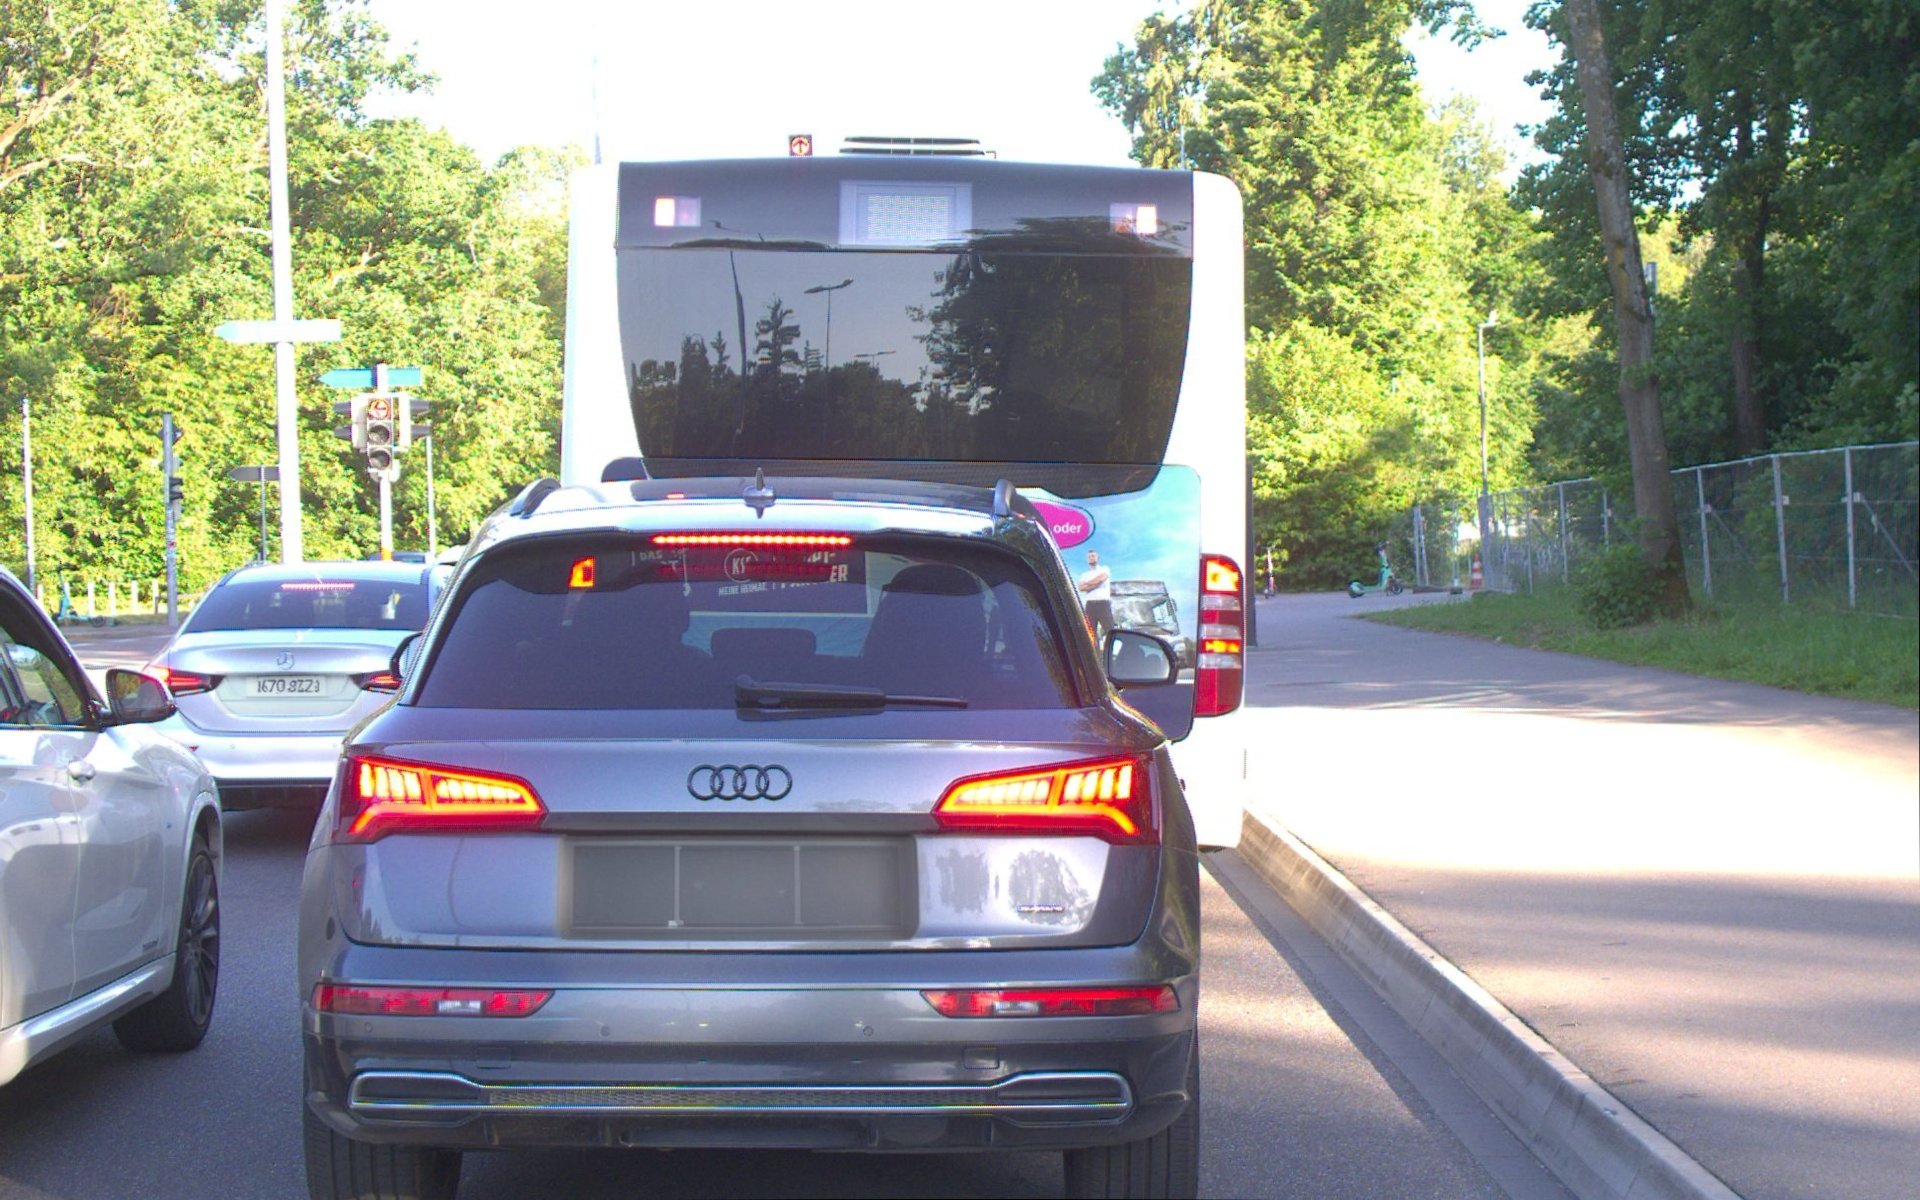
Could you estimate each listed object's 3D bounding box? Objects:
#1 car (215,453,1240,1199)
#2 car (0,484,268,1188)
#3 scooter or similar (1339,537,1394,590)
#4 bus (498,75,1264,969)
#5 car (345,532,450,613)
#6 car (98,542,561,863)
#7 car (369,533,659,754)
[{"bbox_3d":[-0.453,0.516,8.329,1.868,1.658,4.000,1,2,-1],"label":"car"},{"bbox_3d":[-3.010,0.497,8.574,1.718,1.575,4.434,1,1,-1],"label":"car"},{"bbox_3d":[9.210,-0.820,77.837,1.184,1.170,0.659,1,1,11],"label":"scooter or similar"},{"bbox_3d":[-0.252,-0.354,15.132,2.678,3.131,5.882,1,2,1],"label":"bus"},{"bbox_3d":[-12.211,-0.609,74.836,1.993,1.656,4.001,-2,1,-6],"label":"car"},{"bbox_3d":[-3.216,0.448,18.312,1.785,1.439,4.278,1,2,-2],"label":"car"},{"bbox_3d":[-3.455,0.282,27.289,1.808,1.567,4.000,1,2,-1],"label":"car"}]
